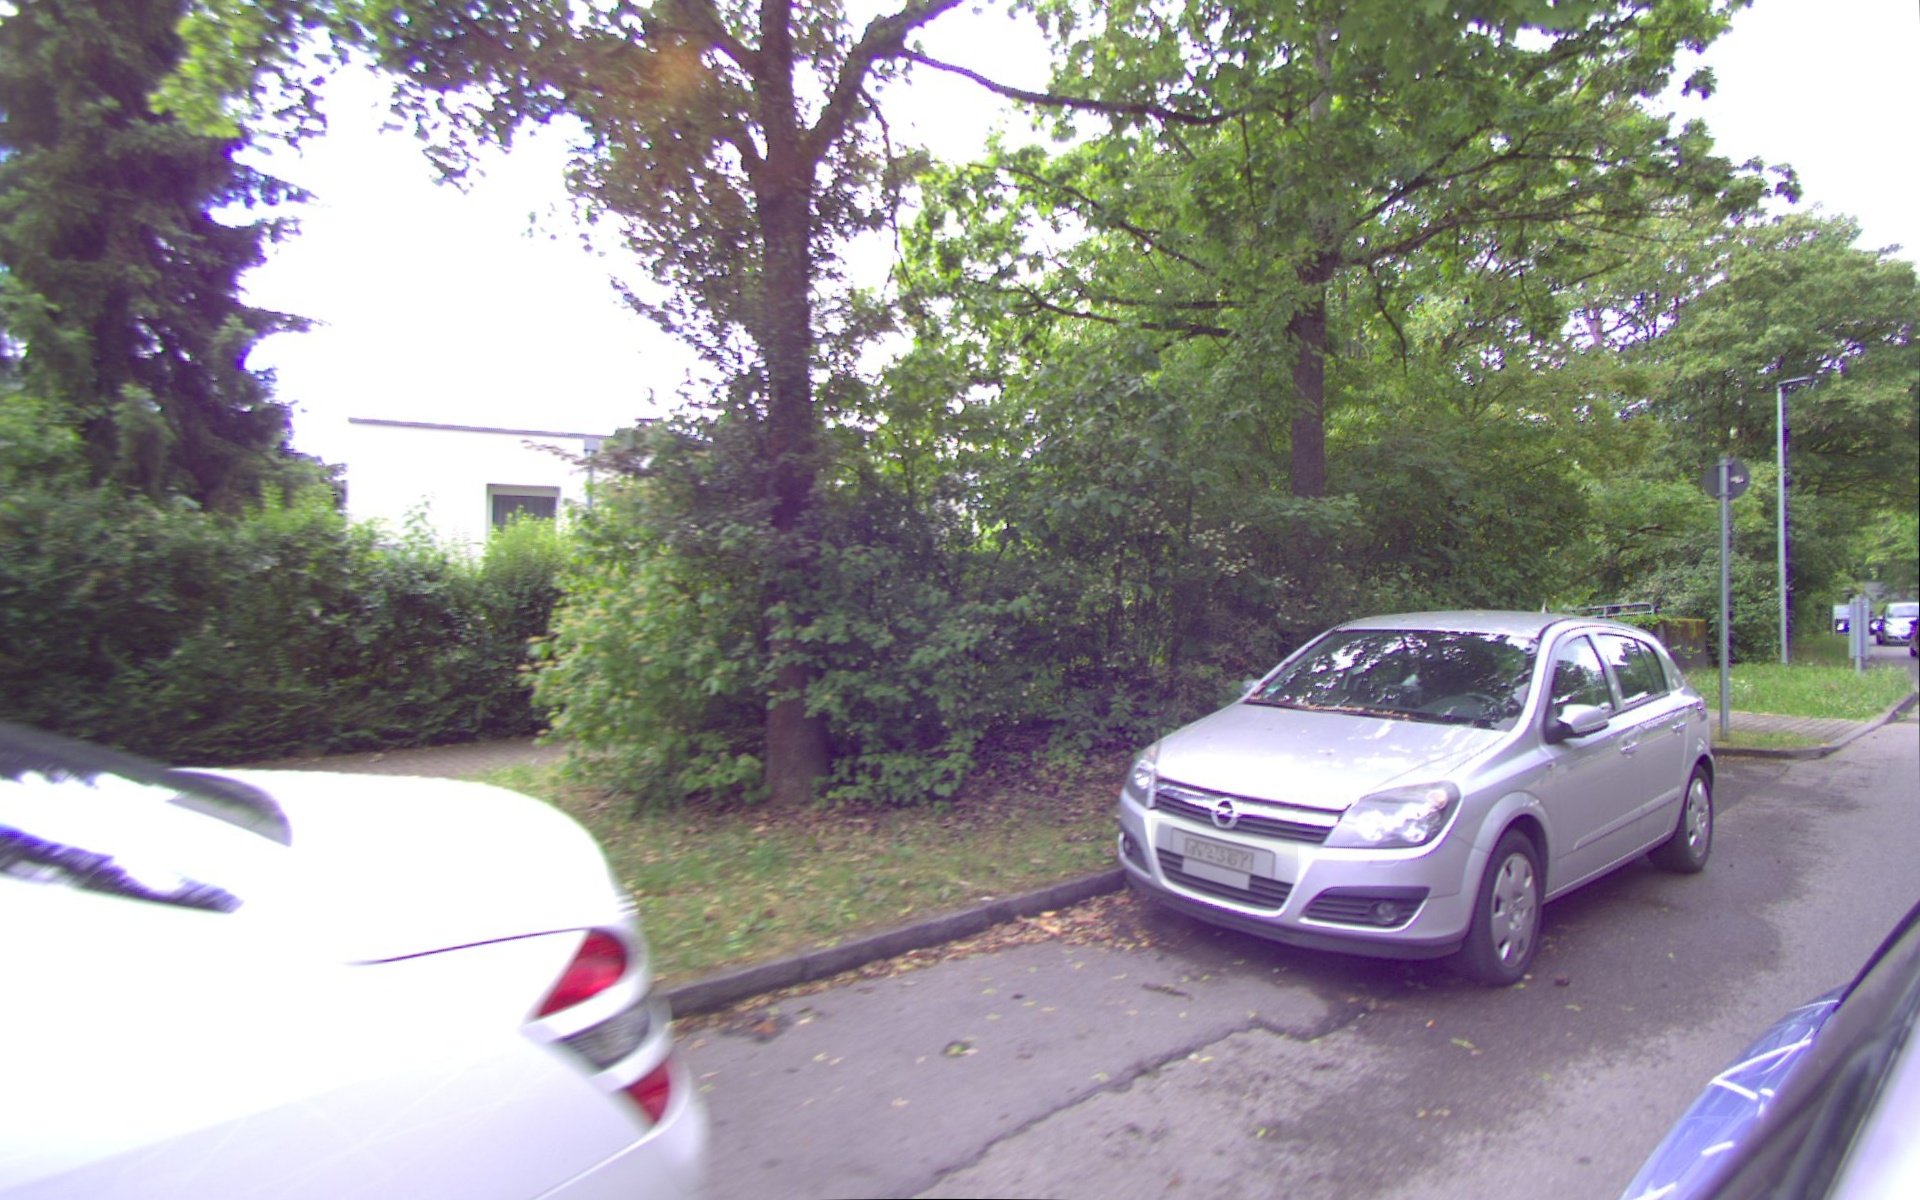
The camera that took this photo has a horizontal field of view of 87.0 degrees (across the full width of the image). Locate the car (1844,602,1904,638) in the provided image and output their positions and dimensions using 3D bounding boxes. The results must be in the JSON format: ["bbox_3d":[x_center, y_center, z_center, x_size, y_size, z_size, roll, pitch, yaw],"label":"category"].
[{"bbox_3d":[47.508,1.006,52.675,1.989,1.693,3.945,-3,-1,39],"label":"car"}]

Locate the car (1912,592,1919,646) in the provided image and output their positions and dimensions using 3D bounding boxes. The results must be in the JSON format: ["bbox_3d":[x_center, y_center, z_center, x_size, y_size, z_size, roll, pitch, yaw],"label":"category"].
[{"bbox_3d":[27.817,0.541,27.855,1.990,1.531,3.944,0,0,38],"label":"car"}]

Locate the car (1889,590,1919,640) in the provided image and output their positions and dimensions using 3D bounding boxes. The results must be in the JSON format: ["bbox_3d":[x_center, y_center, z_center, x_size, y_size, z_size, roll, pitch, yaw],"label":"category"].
[{"bbox_3d":[36.017,0.496,37.562,1.990,1.716,3.943,-3,-1,40],"label":"car"}]

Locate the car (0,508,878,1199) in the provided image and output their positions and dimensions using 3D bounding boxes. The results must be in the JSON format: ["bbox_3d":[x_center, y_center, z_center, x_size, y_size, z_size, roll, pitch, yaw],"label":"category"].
[{"bbox_3d":[-2.639,0.678,0.602,5.087,1.526,1.889,0,0,-42],"label":"car"}]

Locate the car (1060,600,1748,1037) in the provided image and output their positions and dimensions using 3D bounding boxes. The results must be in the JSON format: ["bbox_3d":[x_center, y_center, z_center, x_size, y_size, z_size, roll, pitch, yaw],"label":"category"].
[{"bbox_3d":[2.557,0.729,5.365,3.987,1.429,1.796,0,0,-40],"label":"car"}]

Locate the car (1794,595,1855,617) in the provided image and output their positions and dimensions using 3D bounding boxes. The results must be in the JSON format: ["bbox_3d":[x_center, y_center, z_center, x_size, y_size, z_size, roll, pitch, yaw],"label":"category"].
[{"bbox_3d":[62.541,0.480,73.285,1.828,1.511,3.978,-2,-1,17],"label":"car"}]

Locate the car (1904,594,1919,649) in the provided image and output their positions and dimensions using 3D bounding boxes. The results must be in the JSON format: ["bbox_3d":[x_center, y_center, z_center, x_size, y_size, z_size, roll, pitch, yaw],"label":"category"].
[{"bbox_3d":[27.867,0.565,28.079,1.937,1.551,4.032,-3,-2,37],"label":"car"}]
